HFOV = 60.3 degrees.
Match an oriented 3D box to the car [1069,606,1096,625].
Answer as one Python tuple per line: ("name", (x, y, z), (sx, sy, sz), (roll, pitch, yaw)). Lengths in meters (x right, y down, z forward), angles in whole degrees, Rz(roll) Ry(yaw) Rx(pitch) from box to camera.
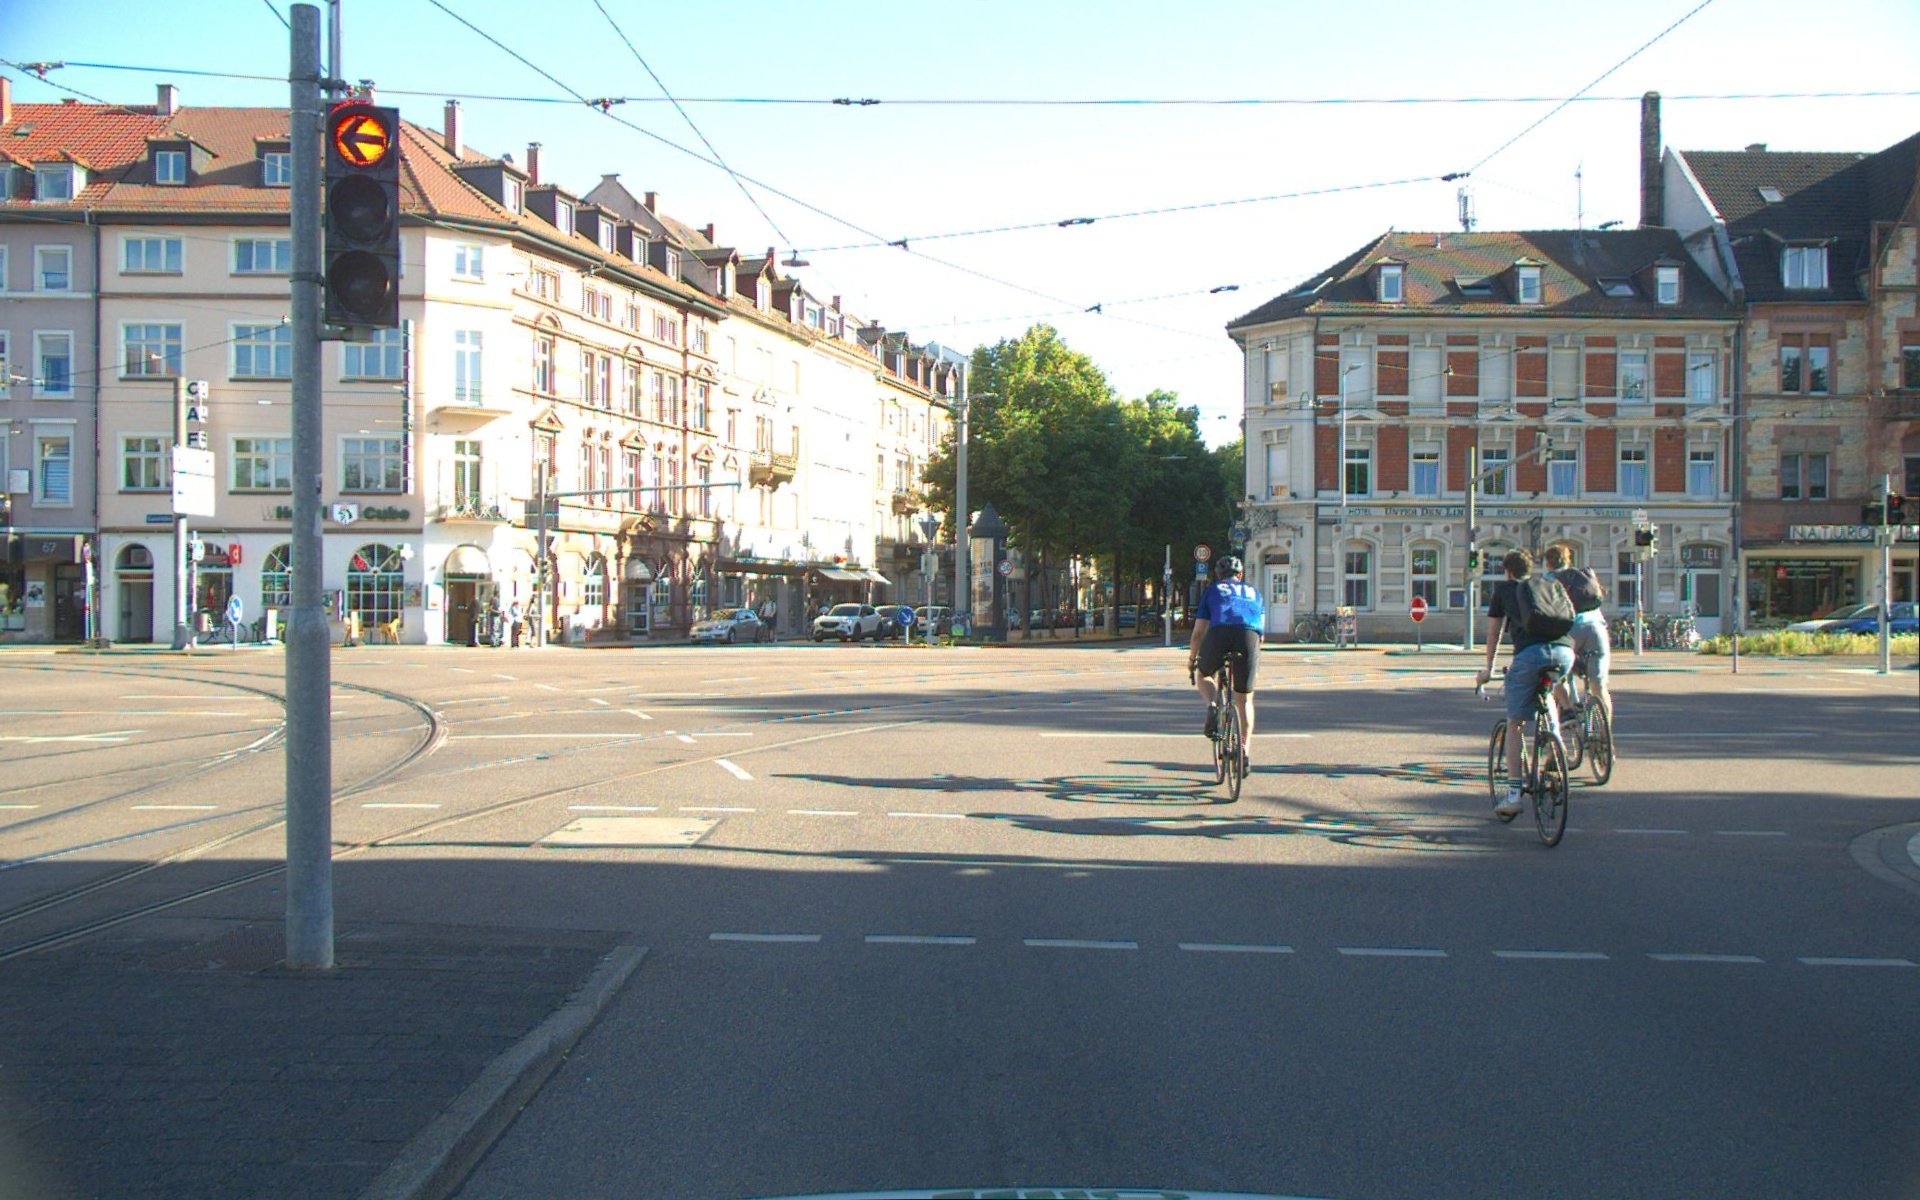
("car", (10.100, 1.260, 136.202), (1.526, 1.540, 3.658), (1, 0, 16))

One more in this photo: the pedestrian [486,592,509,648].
("pedestrian", (-15.883, 0.683, 56.797), (0.620, 1.914, 0.465), (1, -1, -5))

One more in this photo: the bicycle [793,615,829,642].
("bicycle", (-6.388, 1.214, 71.106), (0.637, 1.142, 2.253), (1, 0, 20))

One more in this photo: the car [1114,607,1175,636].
("car", (12.859, 1.466, 115.139), (3.902, 1.937, 2.001), (1, 0, 15))

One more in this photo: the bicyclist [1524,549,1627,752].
("bicyclist", (5.226, 0.415, 14.086), (0.675, 1.662, 0.884), (1, -1, 11))

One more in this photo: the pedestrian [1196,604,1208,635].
("pedestrian", (14.512, 1.180, 99.218), (0.626, 1.827, 0.491), (1, -1, 12))

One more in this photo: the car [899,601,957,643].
("car", (-1.508, 1.069, 79.751), (1.951, 1.937, 4.003), (1, 0, 11))

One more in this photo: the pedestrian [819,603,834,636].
("pedestrian", (-6.877, 0.998, 85.302), (0.532, 1.660, 0.707), (1, -1, 13))

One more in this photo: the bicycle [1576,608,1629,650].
("bicycle", (20.600, 0.924, 53.114), (0.678, 1.309, 2.661), (1, 0, 0))

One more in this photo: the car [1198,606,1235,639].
("car", (12.874, 1.129, 82.763), (1.655, 1.592, 3.844), (1, 0, 11))

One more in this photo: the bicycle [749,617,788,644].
("bicycle", (-7.525, 1.207, 65.147), (0.746, 1.025, 2.398), (1, 0, 13))

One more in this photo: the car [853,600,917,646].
("car", (-3.298, 1.013, 73.590), (1.951, 1.937, 4.003), (1, 0, 11))

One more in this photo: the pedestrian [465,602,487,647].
("pedestrian", (-16.364, 0.836, 55.914), (0.620, 1.502, 0.465), (1, -1, -5))

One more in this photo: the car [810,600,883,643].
("car", (-4.586, 0.863, 67.316), (1.951, 1.646, 4.003), (1, 0, 11))

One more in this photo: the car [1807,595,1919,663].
("car", (25.935, 0.805, 46.036), (3.706, 1.809, 1.999), (1, 0, -2))

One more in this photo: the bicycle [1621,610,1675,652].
("bicycle", (22.088, 0.968, 53.138), (0.615, 1.309, 2.661), (1, 0, 0))

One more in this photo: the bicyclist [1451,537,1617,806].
("bicyclist", (3.651, 0.439, 10.581), (0.789, 1.634, 0.884), (1, -1, 5))

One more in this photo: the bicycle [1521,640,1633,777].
("bicycle", (5.229, 0.886, 14.105), (0.635, 1.049, 1.772), (1, 0, 12))

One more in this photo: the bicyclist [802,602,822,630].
("bicyclist", (-6.371, 0.688, 71.110), (0.618, 1.205, 0.685), (1, -1, 20))

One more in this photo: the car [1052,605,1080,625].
("car", (8.482, 1.182, 132.105), (1.526, 1.540, 3.658), (1, 0, 16))

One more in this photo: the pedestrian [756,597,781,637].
("pedestrian", (-7.537, 0.668, 65.076), (0.803, 1.539, 0.598), (1, -1, 14))

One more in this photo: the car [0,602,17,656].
("car", (-32.382, 0.915, 52.419), (3.902, 1.699, 2.002), (0, 0, 8))

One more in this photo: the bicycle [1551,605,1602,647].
("bicycle", (19.818, 0.832, 53.225), (0.678, 1.309, 2.661), (1, 0, 0))

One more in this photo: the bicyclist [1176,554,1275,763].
("bicyclist", (1.999, 0.413, 12.536), (0.625, 1.520, 0.884), (1, 1, 3))

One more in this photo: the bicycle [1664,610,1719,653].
("bicycle", (23.487, 0.999, 53.160), (0.615, 1.309, 2.661), (1, 0, 0))

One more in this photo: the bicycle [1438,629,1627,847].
("bicycle", (3.642, 0.834, 10.669), (0.739, 1.258, 1.704), (1, 0, 5))

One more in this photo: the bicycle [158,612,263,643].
("bicycle", (-25.512, 0.943, 56.340), (3.066, 0.997, 1.001), (1, 0, -1))

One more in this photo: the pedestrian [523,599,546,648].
("pedestrian", (-14.667, 0.817, 56.967), (0.620, 1.662, 0.700), (1, -1, -4))

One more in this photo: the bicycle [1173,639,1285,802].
("bicycle", (2.001, 0.866, 12.494), (0.613, 1.104, 1.703), (1, 0, 2))

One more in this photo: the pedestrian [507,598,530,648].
("pedestrian", (-14.856, 0.761, 55.660), (0.620, 1.662, 0.700), (1, -1, -4))

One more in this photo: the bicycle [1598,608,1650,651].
("bicycle", (21.311, 0.933, 53.135), (0.615, 1.309, 2.661), (1, 0, 0))

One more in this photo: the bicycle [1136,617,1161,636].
("bicycle", (11.288, 1.572, 99.211), (0.619, 1.104, 1.685), (1, 0, -31))

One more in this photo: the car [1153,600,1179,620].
("car", (16.811, 0.837, 134.880), (1.526, 1.540, 3.658), (1, 0, 16))

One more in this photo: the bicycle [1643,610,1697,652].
("bicycle", (22.803, 0.981, 53.162), (0.615, 1.309, 2.661), (1, 0, 0))

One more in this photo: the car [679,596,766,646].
("car", (-9.585, 0.853, 66.968), (1.951, 1.937, 4.002), (1, 0, 17))

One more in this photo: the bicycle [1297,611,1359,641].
("bicycle", (12.734, 0.891, 57.246), (2.006, 1.015, 0.631), (0, -1, 2))

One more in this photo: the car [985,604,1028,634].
("car", (3.188, 1.290, 112.724), (1.951, 1.937, 4.002), (1, 0, 16))

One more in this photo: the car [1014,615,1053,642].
("car", (5.480, 2.076, 122.679), (1.951, 1.937, 4.002), (1, 0, 16))
